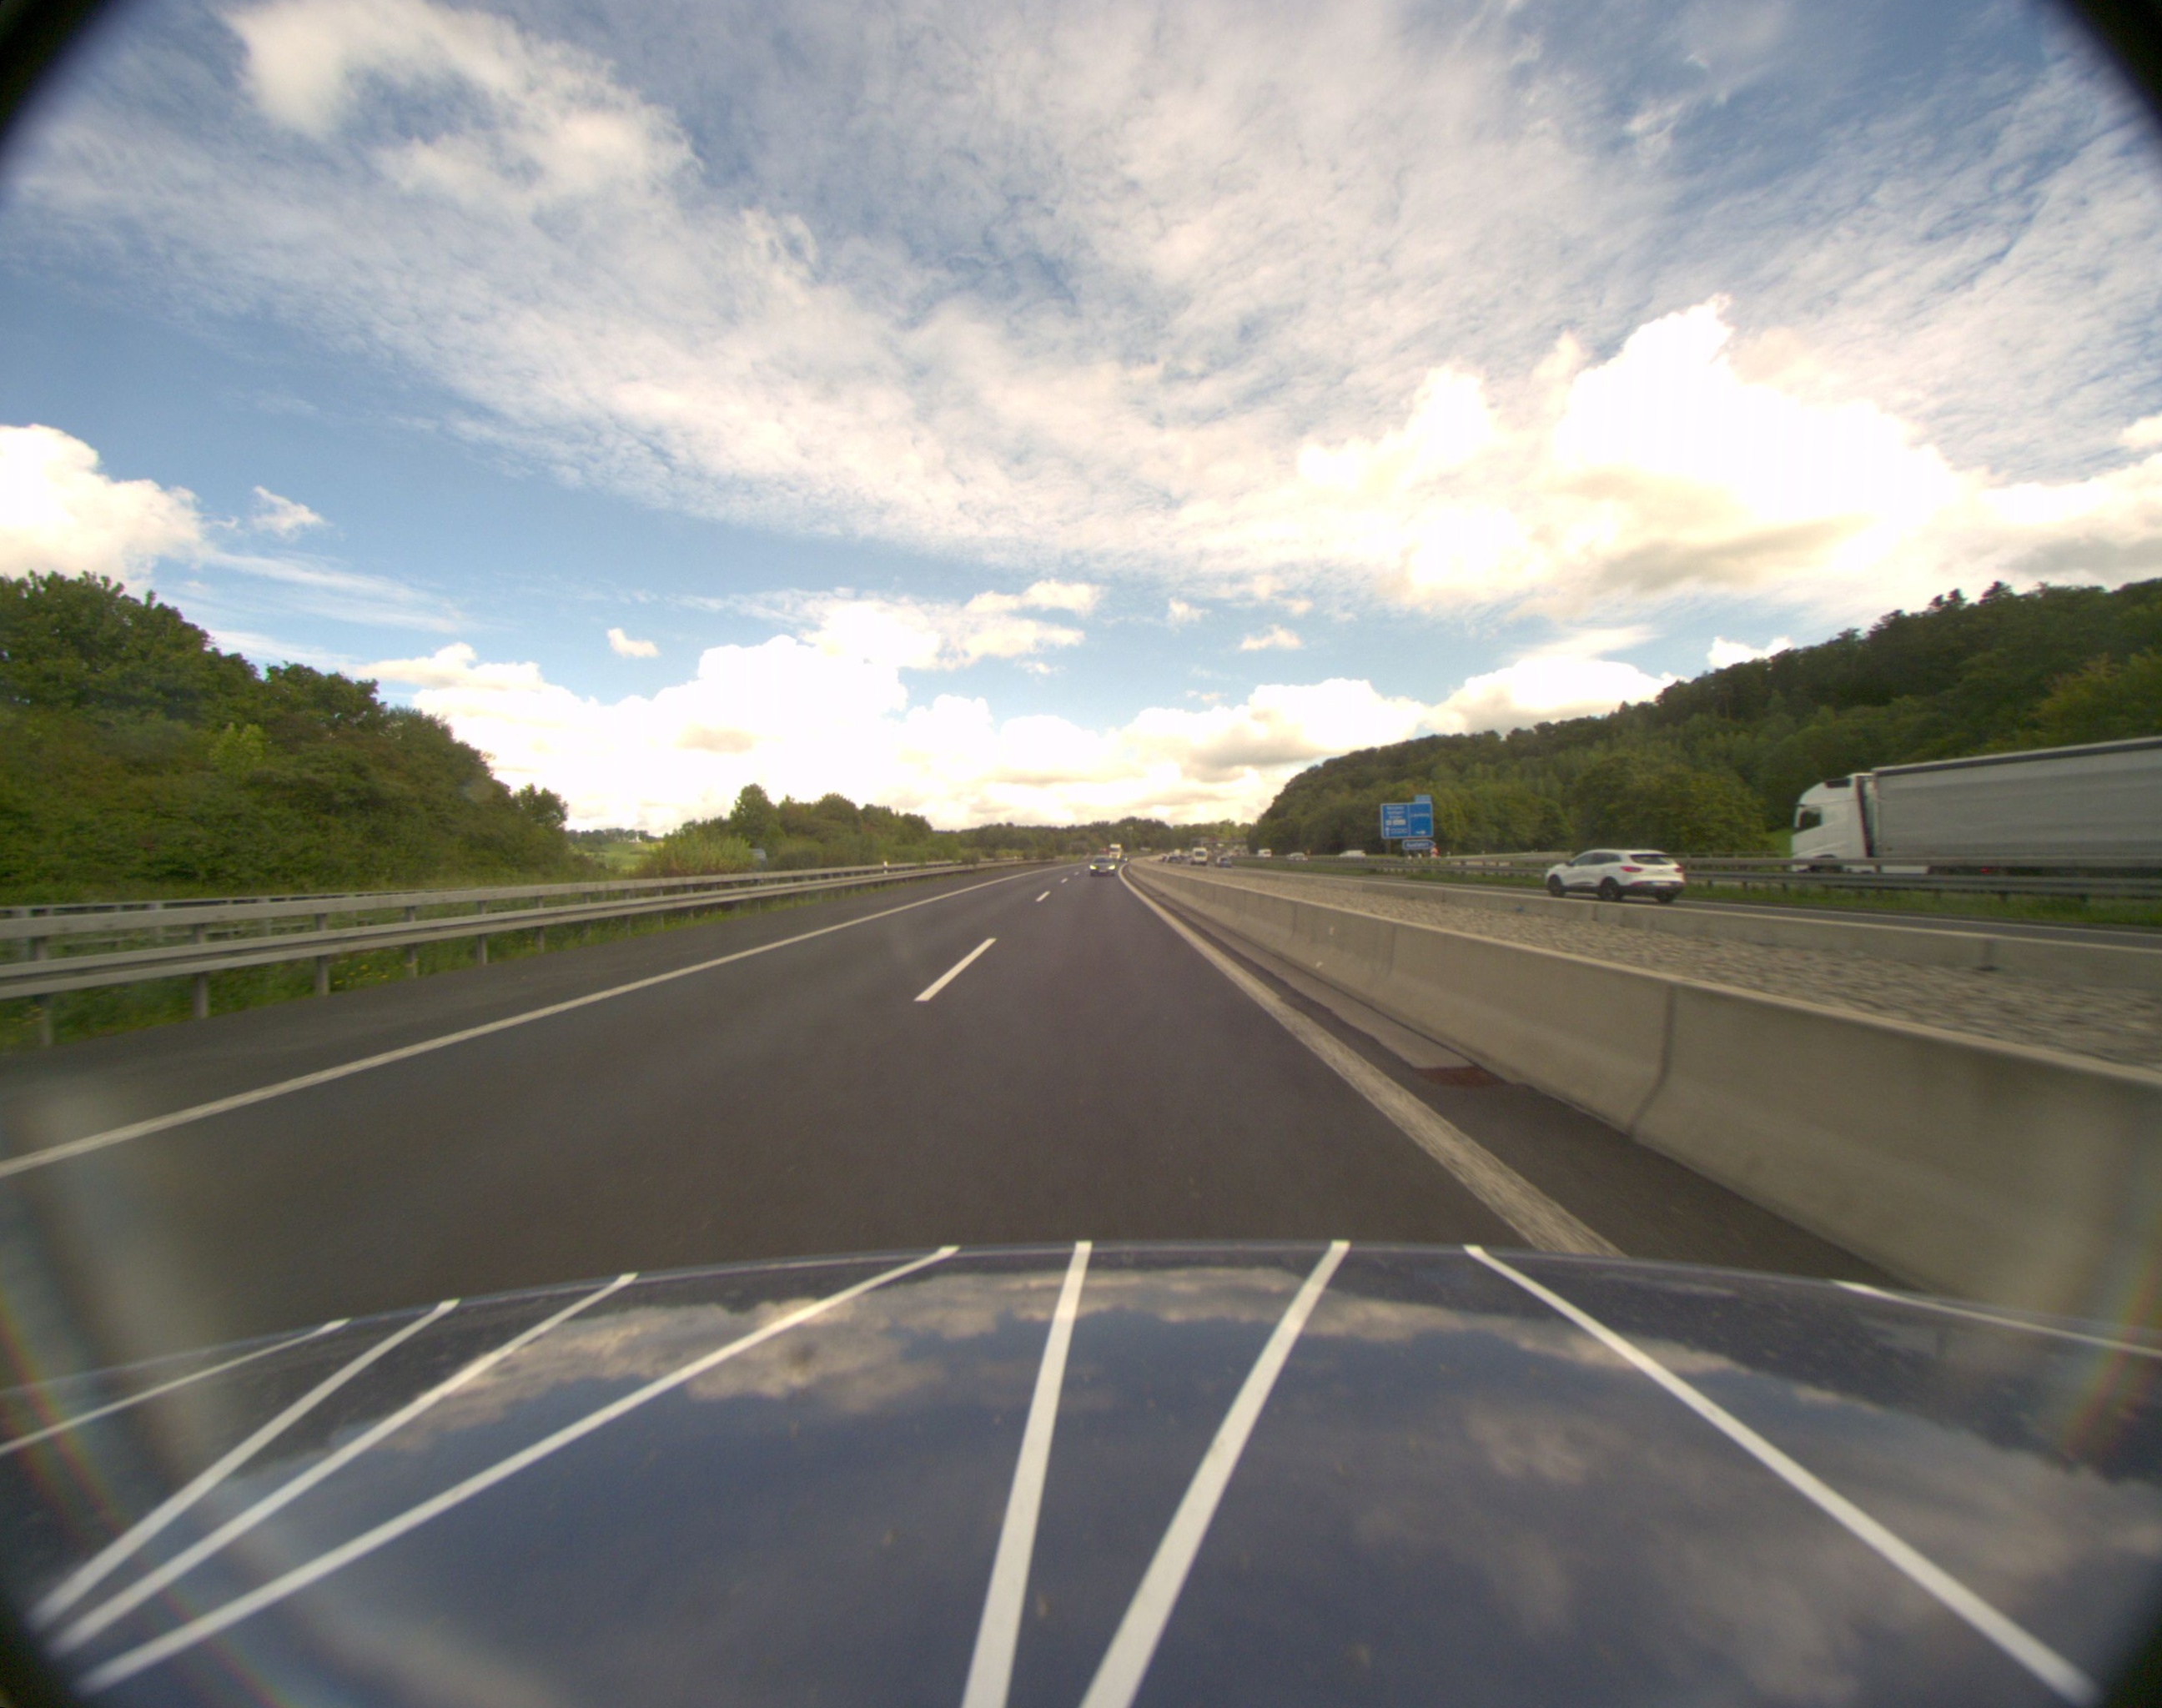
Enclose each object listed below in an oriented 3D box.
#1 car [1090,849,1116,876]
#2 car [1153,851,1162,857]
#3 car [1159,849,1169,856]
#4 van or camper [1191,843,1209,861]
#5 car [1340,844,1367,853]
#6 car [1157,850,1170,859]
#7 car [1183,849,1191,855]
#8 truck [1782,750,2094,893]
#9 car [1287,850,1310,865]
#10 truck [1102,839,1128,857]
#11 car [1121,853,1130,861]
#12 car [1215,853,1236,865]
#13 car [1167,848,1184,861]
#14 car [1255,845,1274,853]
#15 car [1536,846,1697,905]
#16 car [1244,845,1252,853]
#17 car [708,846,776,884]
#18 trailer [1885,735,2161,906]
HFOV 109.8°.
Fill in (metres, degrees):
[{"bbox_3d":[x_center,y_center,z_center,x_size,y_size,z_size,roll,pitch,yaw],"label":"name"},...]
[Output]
[{"bbox_3d":[1.580,0.577,54.362,1.724,1.722,3.939,-2,1,2],"label":"car"},{"bbox_3d":[19.153,0.060,190.032,1.867,1.413,4.428,-1,1,10],"label":"car"},{"bbox_3d":[18.453,-0.340,168.719,1.754,1.444,3.939,-1,1,10],"label":"car"},{"bbox_3d":[17.308,-0.345,110.587,2.105,2.521,5.423,-1,1,4],"label":"van or camper"},{"bbox_3d":[58.715,-1.238,163.713,2.178,1.912,5.142,-2,1,-43],"label":"car"},{"bbox_3d":[14.111,0.090,129.607,1.868,1.413,4.425,-1,1,2],"label":"car"},{"bbox_3d":[29.923,-0.596,214.292,1.898,1.444,3.939,-1,1,11],"label":"car"},{"bbox_3d":[27.402,-0.961,24.877,3.159,4.042,6.286,-1,1,1],"label":"truck"},{"bbox_3d":[27.236,0.388,95.208,1.998,1.827,4.001,-1,1,4],"label":"car"},{"bbox_3d":[8.854,-1.512,194.115,4.944,4.306,14.638,-1,1,9],"label":"truck"},{"bbox_3d":[9.661,0.586,164.239,1.753,1.621,4.842,-1,1,5],"label":"car"},{"bbox_3d":[18.110,0.570,95.407,1.754,1.413,4.208,-1,1,0],"label":"car"},{"bbox_3d":[11.707,0.054,94.348,1.754,1.621,4.841,-1,1,2],"label":"car"},{"bbox_3d":[45.972,-1.311,190.517,2.002,2.002,5.146,-1,1,-25],"label":"car"},{"bbox_3d":[16.444,0.589,23.681,1.802,1.621,4.754,-1,1,2],"label":"car"},{"bbox_3d":[47.164,-1.395,215.121,1.997,2.002,4.002,-1,1,9],"label":"car"},{"bbox_3d":[-21.509,0.642,48.478,1.999,2.173,5.127,-2,1,0],"label":"car"},{"bbox_3d":[27.322,-0.827,17.711,3.159,4.070,13.385,-1,1,1],"label":"trailer"}]
